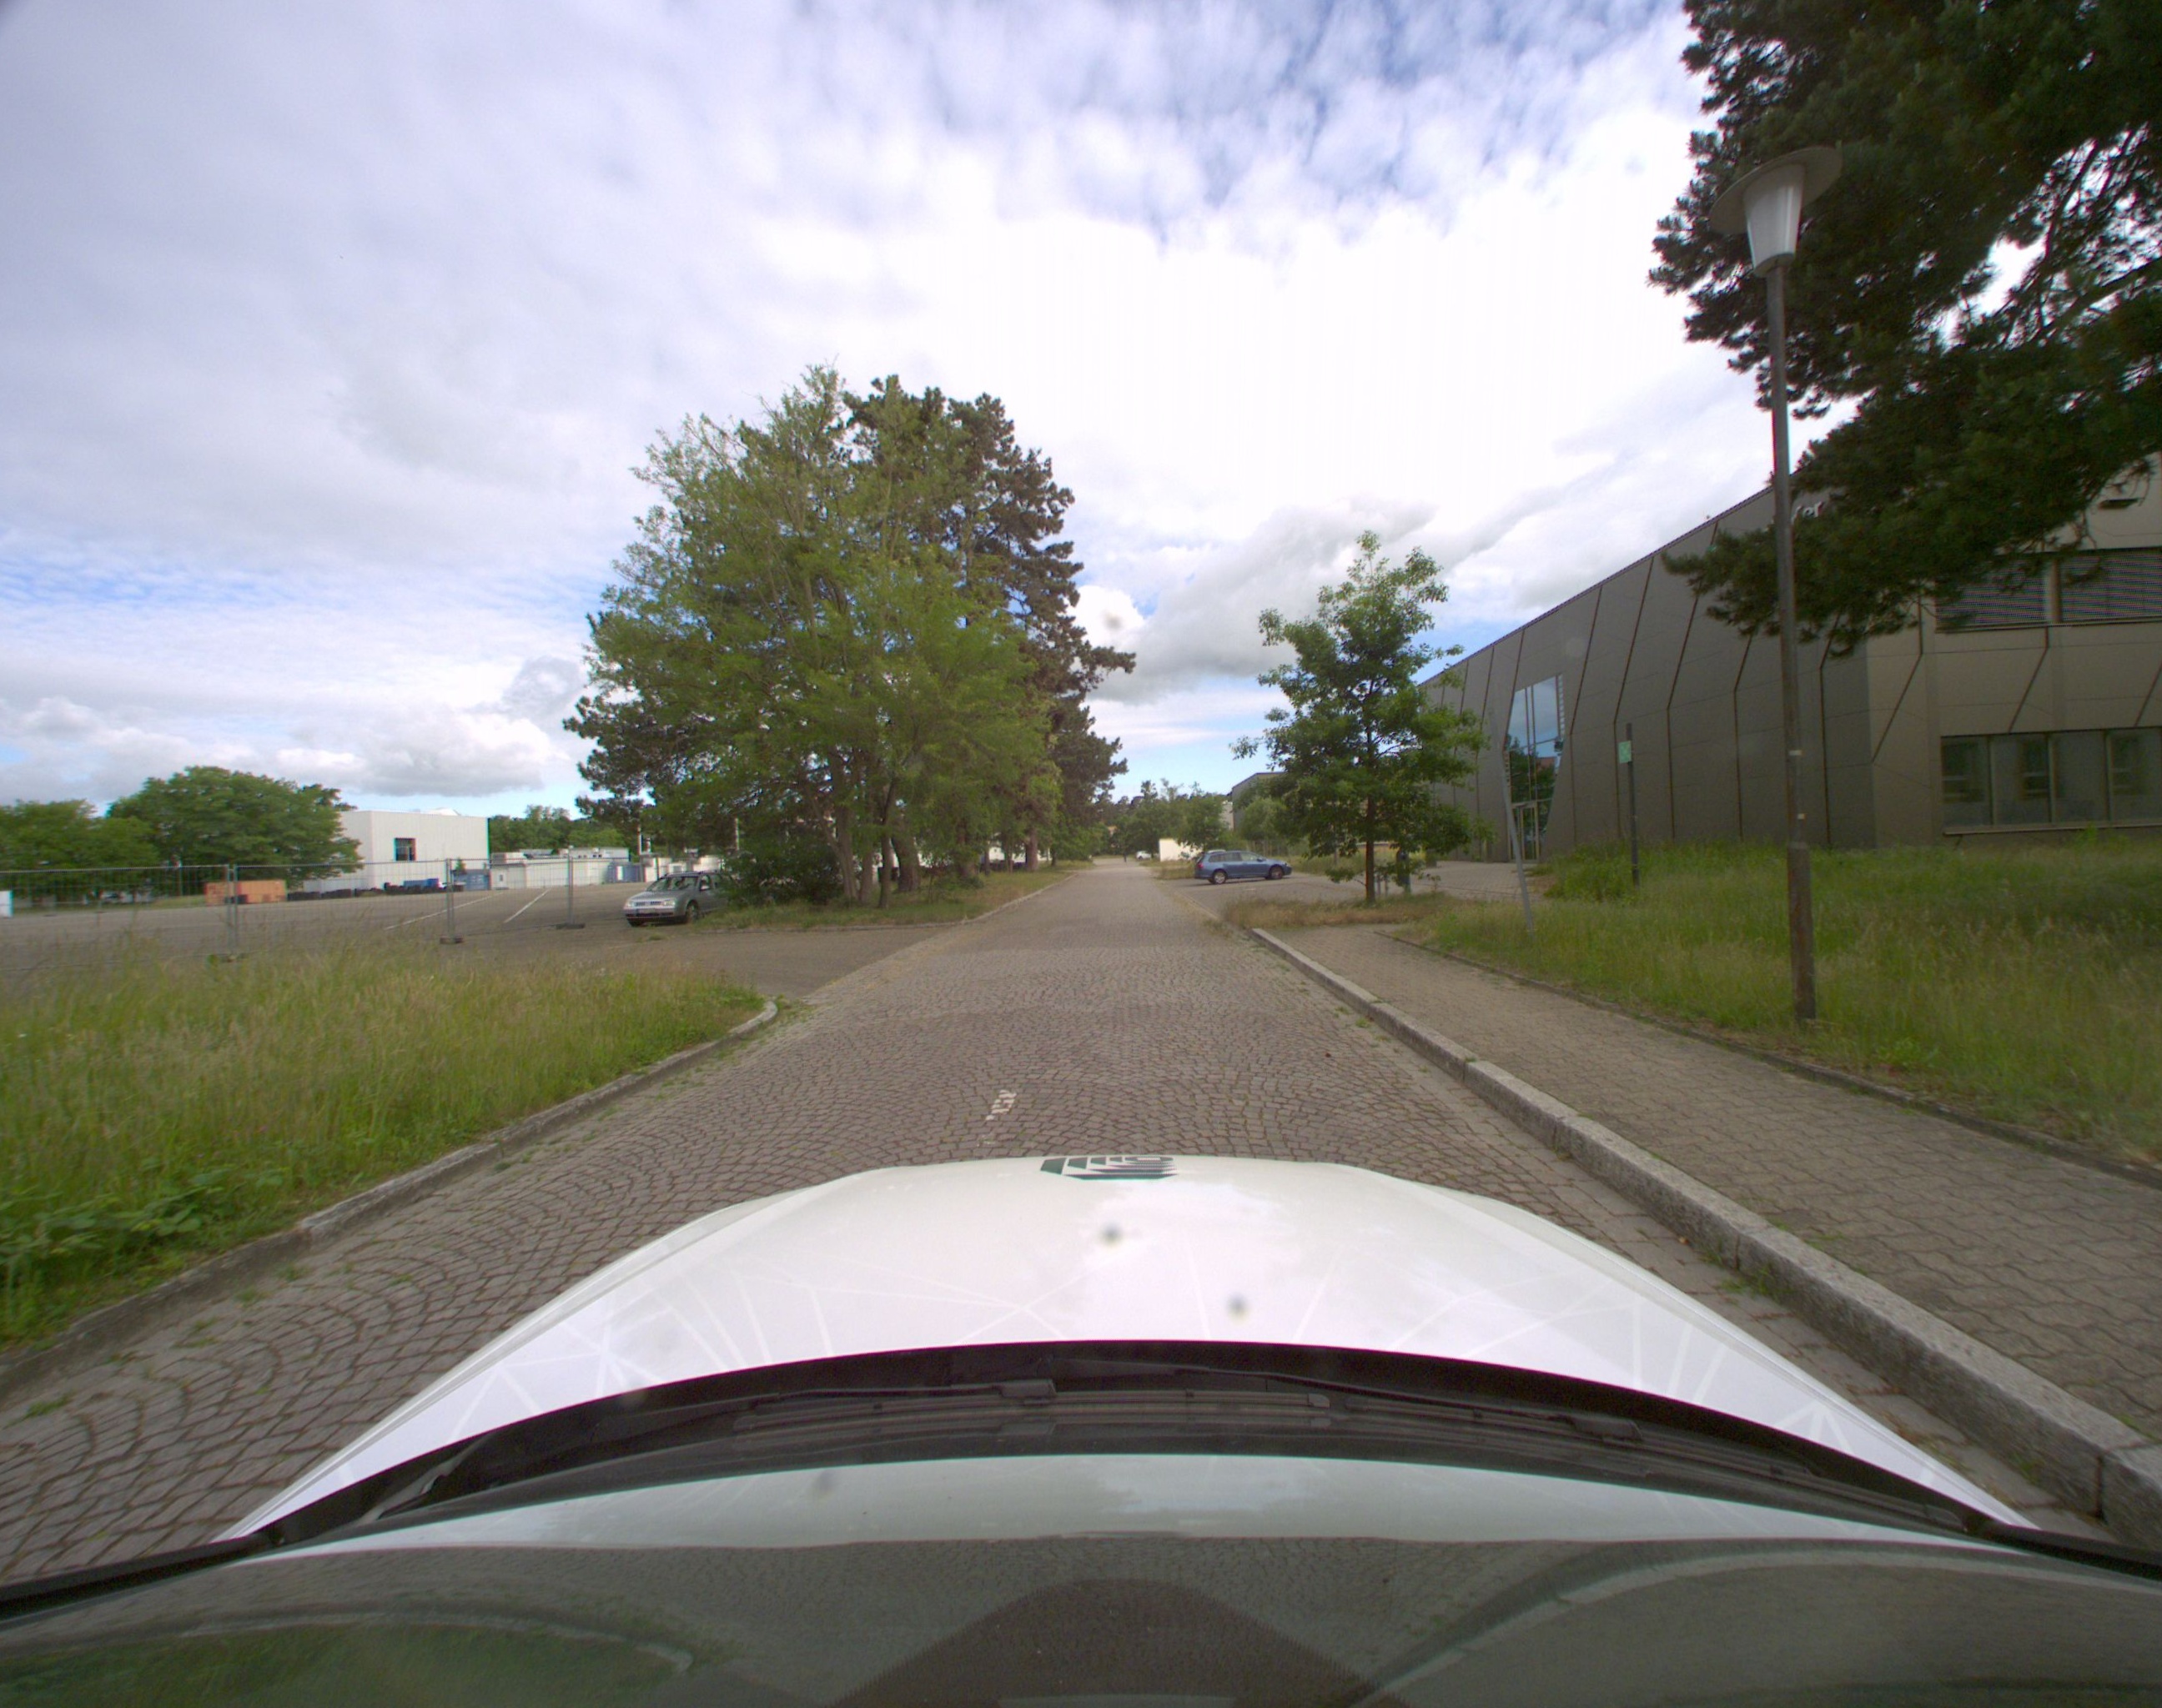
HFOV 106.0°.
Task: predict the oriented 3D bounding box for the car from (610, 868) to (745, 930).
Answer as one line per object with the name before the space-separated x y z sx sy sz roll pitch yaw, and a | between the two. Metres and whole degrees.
car | -11.694 1.247 23.950 1.723 1.432 4.164 -2 1 2

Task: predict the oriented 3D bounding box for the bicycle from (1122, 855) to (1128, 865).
bicycle | 6.515 0.826 119.990 0.820 1.376 2.043 -2 1 2

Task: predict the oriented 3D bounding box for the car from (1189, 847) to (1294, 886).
car | 7.433 0.560 38.048 4.466 1.462 1.934 -4 0 0

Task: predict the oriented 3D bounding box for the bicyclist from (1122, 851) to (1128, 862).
bicyclist | 6.500 0.391 119.974 0.894 1.542 0.868 -2 1 1

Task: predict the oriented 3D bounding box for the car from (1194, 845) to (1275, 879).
car | 8.533 0.449 45.472 4.094 1.572 1.765 -4 0 0

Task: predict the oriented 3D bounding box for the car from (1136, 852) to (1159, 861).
car | 12.865 0.533 157.827 4.303 1.549 2.002 -2 0 3
